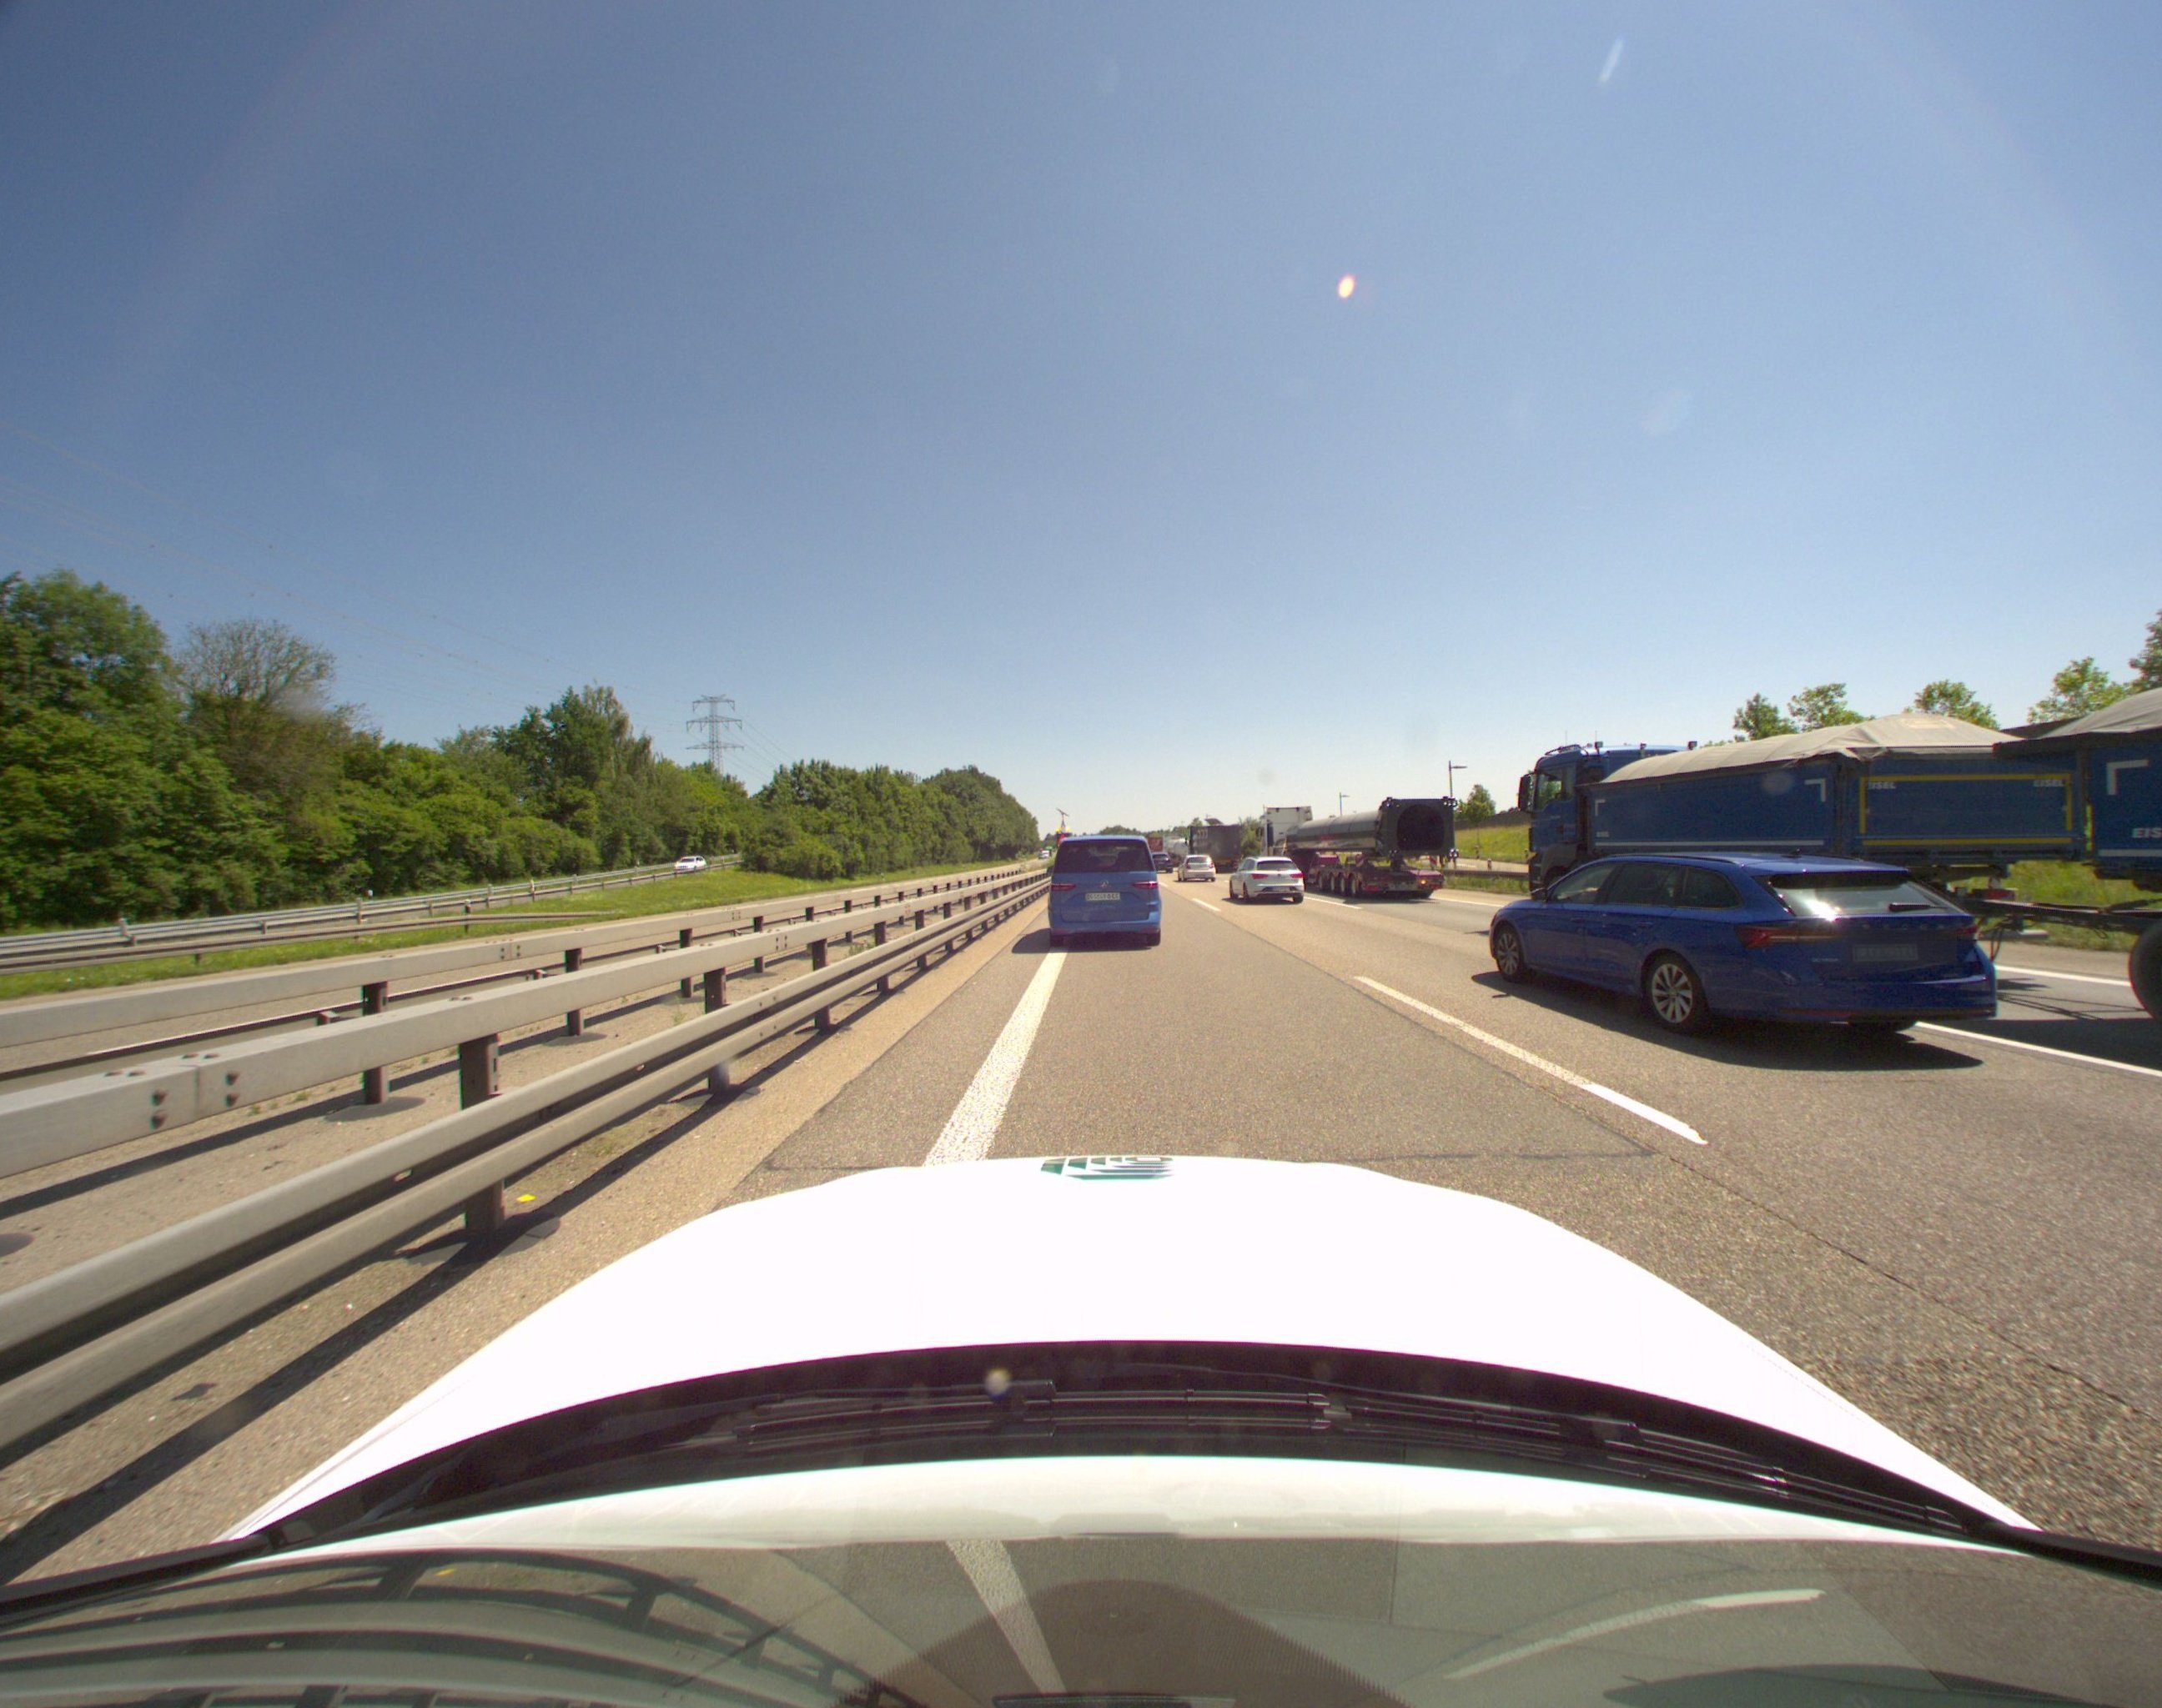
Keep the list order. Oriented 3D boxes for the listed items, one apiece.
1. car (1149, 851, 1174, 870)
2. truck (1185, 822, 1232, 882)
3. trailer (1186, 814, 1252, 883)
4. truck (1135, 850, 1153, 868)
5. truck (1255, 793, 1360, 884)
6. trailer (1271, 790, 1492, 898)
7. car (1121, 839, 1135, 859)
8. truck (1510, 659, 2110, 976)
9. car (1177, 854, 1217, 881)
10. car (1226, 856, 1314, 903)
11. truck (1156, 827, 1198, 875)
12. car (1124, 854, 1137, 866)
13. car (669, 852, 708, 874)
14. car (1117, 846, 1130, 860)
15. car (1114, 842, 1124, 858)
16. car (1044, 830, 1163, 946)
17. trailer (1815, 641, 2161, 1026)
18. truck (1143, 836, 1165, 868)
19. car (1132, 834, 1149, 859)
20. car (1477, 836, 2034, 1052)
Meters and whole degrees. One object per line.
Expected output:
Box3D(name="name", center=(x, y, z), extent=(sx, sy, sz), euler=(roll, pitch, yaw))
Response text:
Box3D(name="car", center=(6.500, 0.531, 65.946), extent=(1.774, 1.524, 4.001), euler=(0, -1, 1))
Box3D(name="truck", center=(11.483, -0.113, 73.791), extent=(3.643, 5.180, 5.713), euler=(-1, -1, 3))
Box3D(name="trailer", center=(11.152, -0.328, 67.306), extent=(3.632, 5.136, 13.080), euler=(0, -1, 2))
Box3D(name="truck", center=(6.606, 0.547, 85.935), extent=(1.719, 1.857, 4.001), euler=(0, -1, 1))
Box3D(name="truck", center=(11.109, -0.644, 40.856), extent=(3.610, 4.095, 7.532), euler=(-1, -1, 4))
Box3D(name="trailer", center=(10.455, -0.163, 31.258), extent=(3.630, 3.079, 15.786), euler=(-1, -1, 4))
Box3D(name="car", center=(13.008, -1.341, 225.164), extent=(3.210, 5.257, 8.138), euler=(0, -1, -2))
Box3D(name="truck", center=(9.555, -0.402, 12.149), extent=(2.733, 3.311, 7.136), euler=(0, 0, 2))
Box3D(name="car", center=(6.471, 0.747, 45.641), extent=(1.833, 1.454, 4.002), euler=(-1, -1, 2))
Box3D(name="car", center=(5.852, 0.754, 25.706), extent=(1.861, 1.361, 3.999), euler=(0, 0, 0))
Box3D(name="truck", center=(11.202, -0.221, 96.774), extent=(3.608, 5.213, 15.693), euler=(0, -1, 2))
Box3D(name="car", center=(8.457, 0.986, 138.661), extent=(1.986, 2.014, 4.001), euler=(0, -1, 1))
Box3D(name="car", center=(-35.266, 0.811, 73.310), extent=(1.632, 1.674, 4.891), euler=(0, 3, -7))
Box3D(name="car", center=(8.625, -0.168, 167.361), extent=(2.541, 2.717, 5.622), euler=(0, -1, 1))
Box3D(name="car", center=(11.897, -1.310, 255.192), extent=(2.706, 4.713, 11.563), euler=(0, -1, 2))
Box3D(name="car", center=(0.466, 0.579, 15.010), extent=(1.893, 1.838, 4.003), euler=(-1, -1, 3))
Box3D(name="trailer", center=(9.285, -0.145, 4.379), extent=(2.733, 2.836, 9.120), euler=(0, 1, 2))
Box3D(name="truck", center=(11.953, -0.245, 134.228), extent=(3.057, 4.920, 10.692), euler=(0, -1, 2))
Box3D(name="car", center=(12.722, -1.540, 173.667), extent=(3.206, 5.257, 8.147), euler=(0, -1, 2))
Box3D(name="car", center=(5.586, 0.638, 7.675), extent=(1.699, 1.441, 4.430), euler=(-1, -1, 2))
